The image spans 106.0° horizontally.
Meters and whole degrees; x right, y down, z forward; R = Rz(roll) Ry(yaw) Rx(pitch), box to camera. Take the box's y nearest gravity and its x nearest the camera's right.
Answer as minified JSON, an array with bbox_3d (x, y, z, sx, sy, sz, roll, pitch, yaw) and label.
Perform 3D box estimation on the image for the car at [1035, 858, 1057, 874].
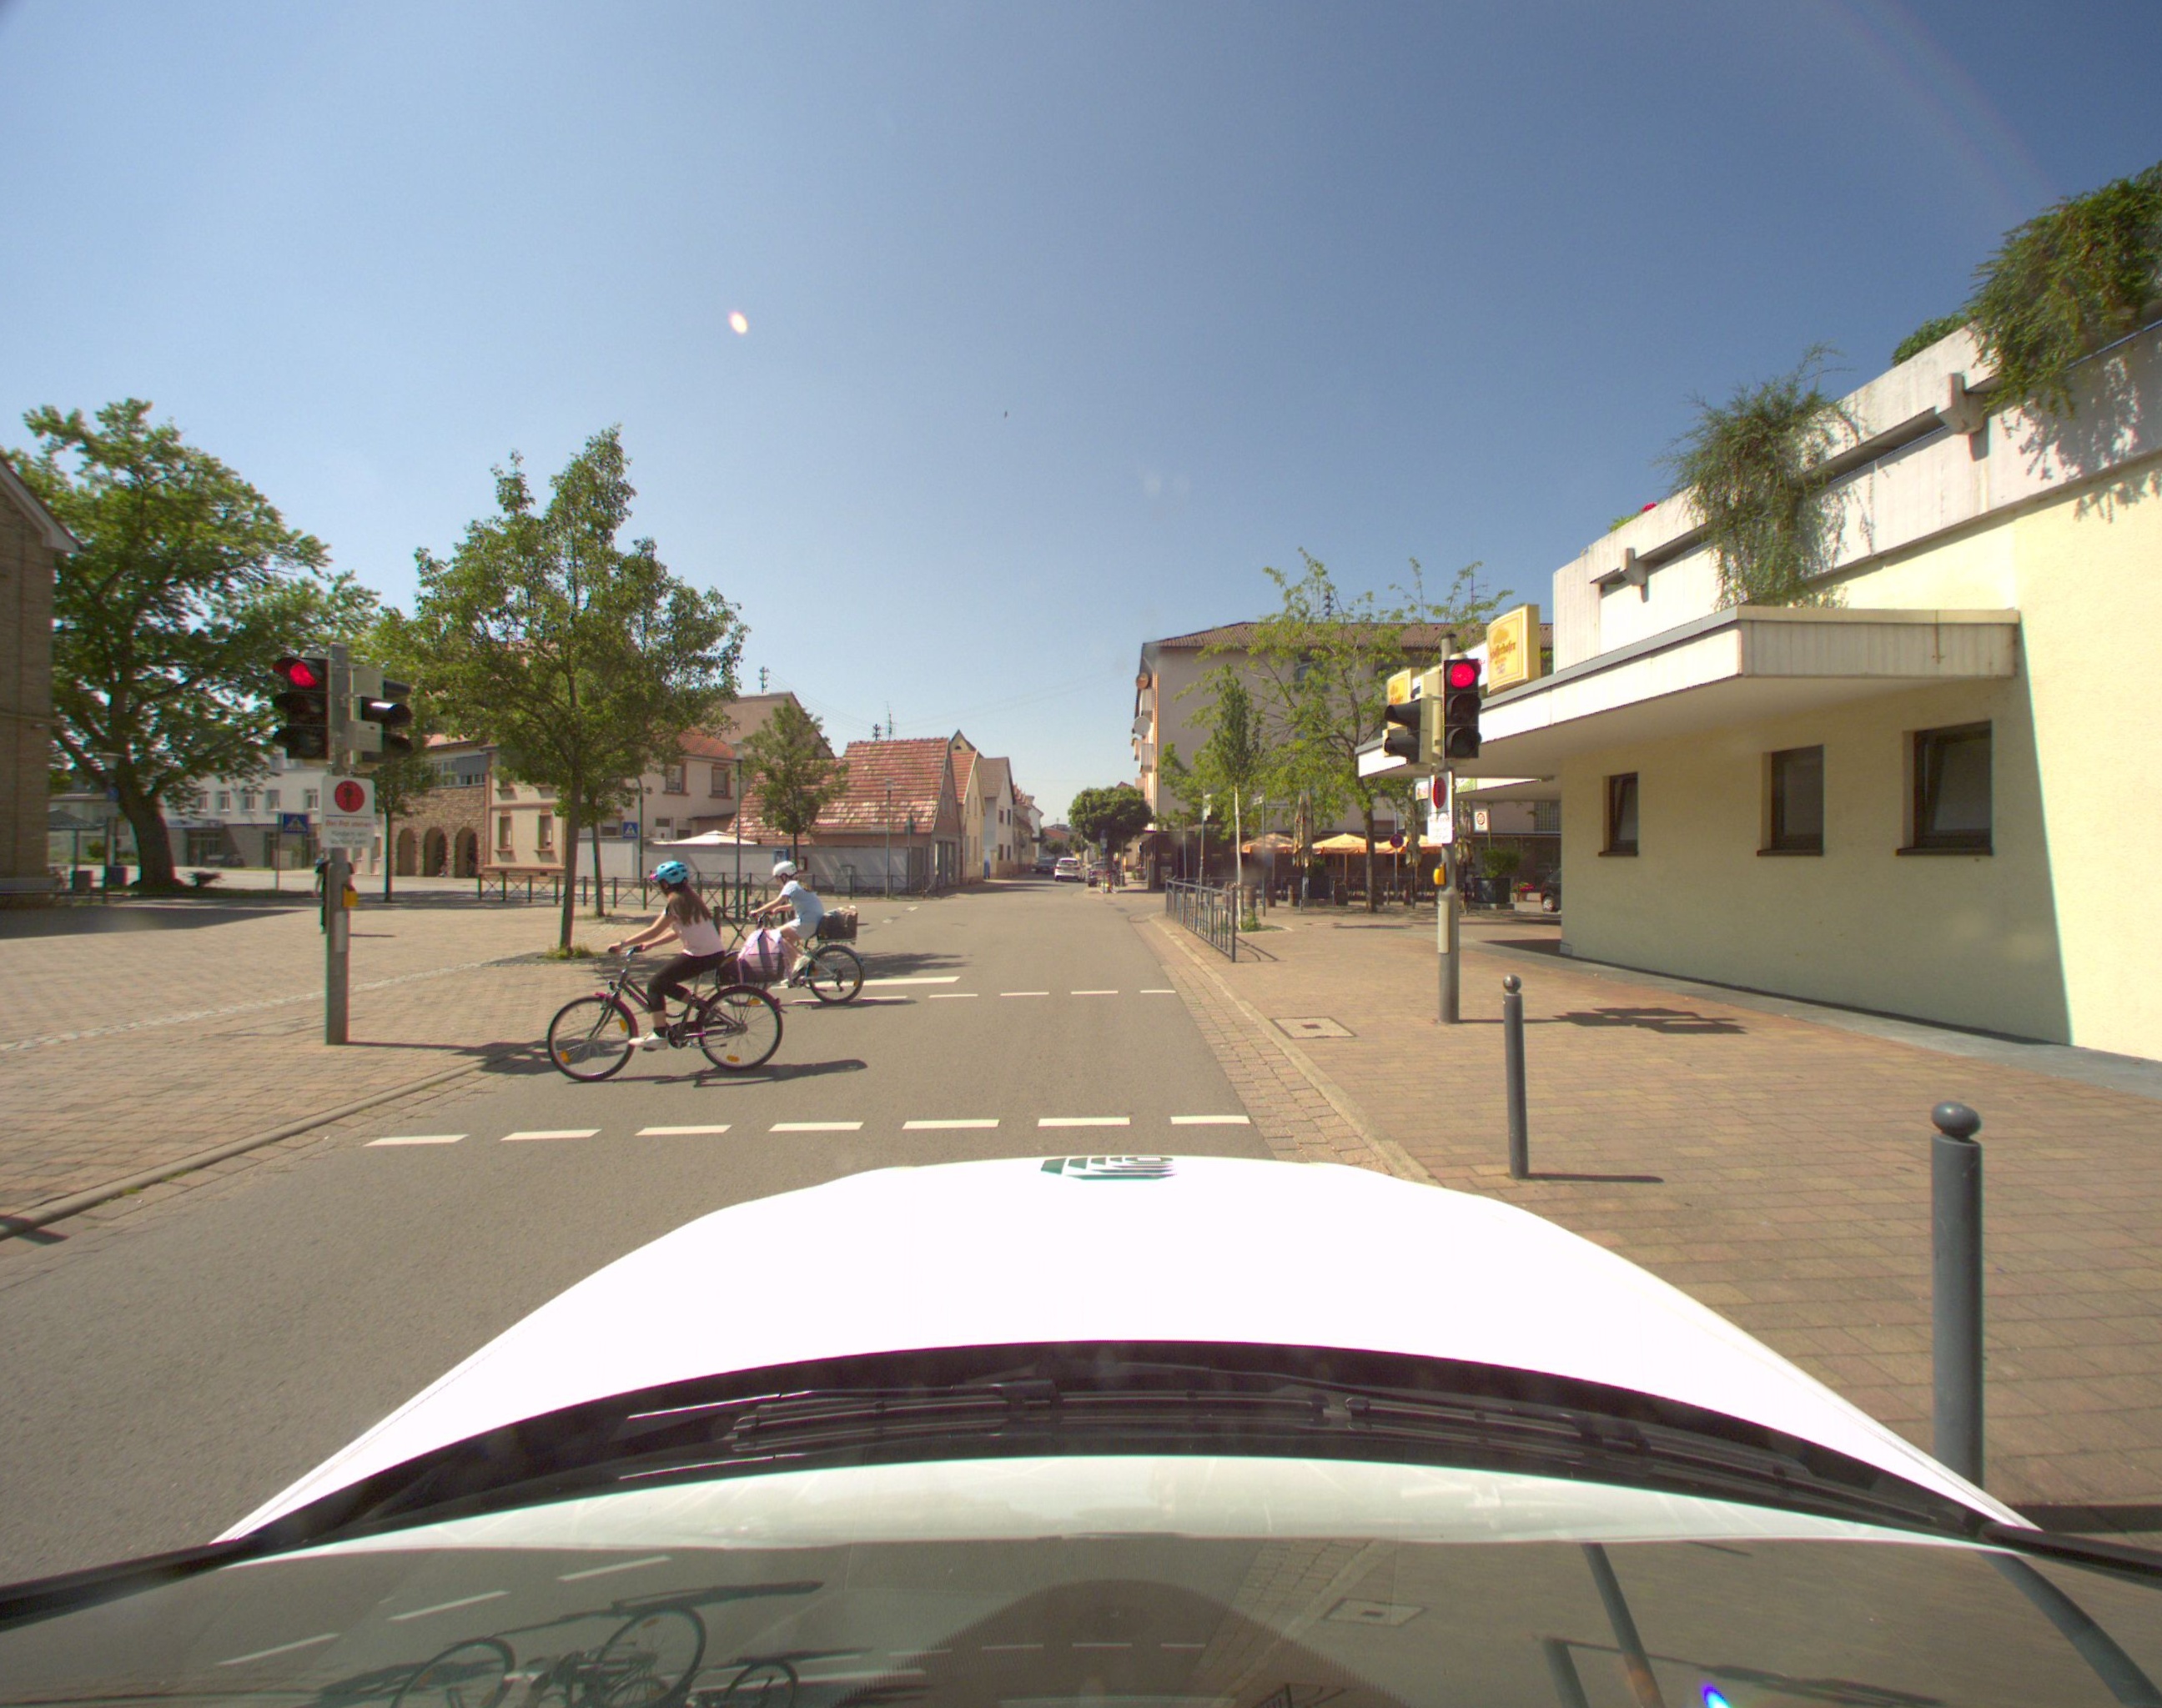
[{"bbox_3d":[-3.339,1.173,78.701,1.707,1.517,3.789,0,0,3],"label":"car"}]

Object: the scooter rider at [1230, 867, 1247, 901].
[{"bbox_3d":[6.143,1.157,31.797,0.520,1.286,0.413,1,-1,-39],"label":"scooter rider"}]

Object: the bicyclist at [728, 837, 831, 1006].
[{"bbox_3d":[-3.117,0.676,8.480,0.756,1.664,0.671,-2,0,1],"label":"bicyclist"}]

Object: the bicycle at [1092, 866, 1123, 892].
[{"bbox_3d":[1.264,1.201,39.083,0.530,1.193,1.655,1,-1,-42],"label":"bicycle"}]

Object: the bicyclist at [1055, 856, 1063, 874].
[{"bbox_3d":[-2.023,1.013,74.318,0.666,1.691,0.762,-1,-1,1],"label":"bicyclist"}]

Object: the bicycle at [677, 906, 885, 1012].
[{"bbox_3d":[-3.080,1.076,8.471,1.882,0.958,0.676,-2,0,2],"label":"bicycle"}]

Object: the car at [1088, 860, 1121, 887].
[{"bbox_3d":[1.408,1.113,47.859,1.797,1.501,4.003,0,0,3],"label":"car"}]

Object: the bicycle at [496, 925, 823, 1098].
[{"bbox_3d":[-2.862,1.056,5.730,1.890,0.958,0.674,-2,0,-10],"label":"bicycle"}]

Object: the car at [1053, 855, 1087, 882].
[{"bbox_3d":[-0.715,0.959,55.878,1.825,1.652,4.006,2,0,5],"label":"car"}]

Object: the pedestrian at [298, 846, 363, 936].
[{"bbox_3d":[-14.229,0.686,15.474,0.818,1.654,0.841,2,-2,-39],"label":"pedestrian"}]

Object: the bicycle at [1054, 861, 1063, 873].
[{"bbox_3d":[-2.029,1.192,74.237,0.671,1.094,1.896,-1,-1,2],"label":"bicycle"}]

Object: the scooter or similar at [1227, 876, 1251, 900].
[{"bbox_3d":[6.156,1.317,31.781,0.382,0.873,0.880,1,-1,-39],"label":"scooter or similar"}]

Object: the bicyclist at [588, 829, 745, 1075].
[{"bbox_3d":[-2.864,0.638,5.708,0.759,1.581,0.668,-2,0,-10],"label":"bicyclist"}]
